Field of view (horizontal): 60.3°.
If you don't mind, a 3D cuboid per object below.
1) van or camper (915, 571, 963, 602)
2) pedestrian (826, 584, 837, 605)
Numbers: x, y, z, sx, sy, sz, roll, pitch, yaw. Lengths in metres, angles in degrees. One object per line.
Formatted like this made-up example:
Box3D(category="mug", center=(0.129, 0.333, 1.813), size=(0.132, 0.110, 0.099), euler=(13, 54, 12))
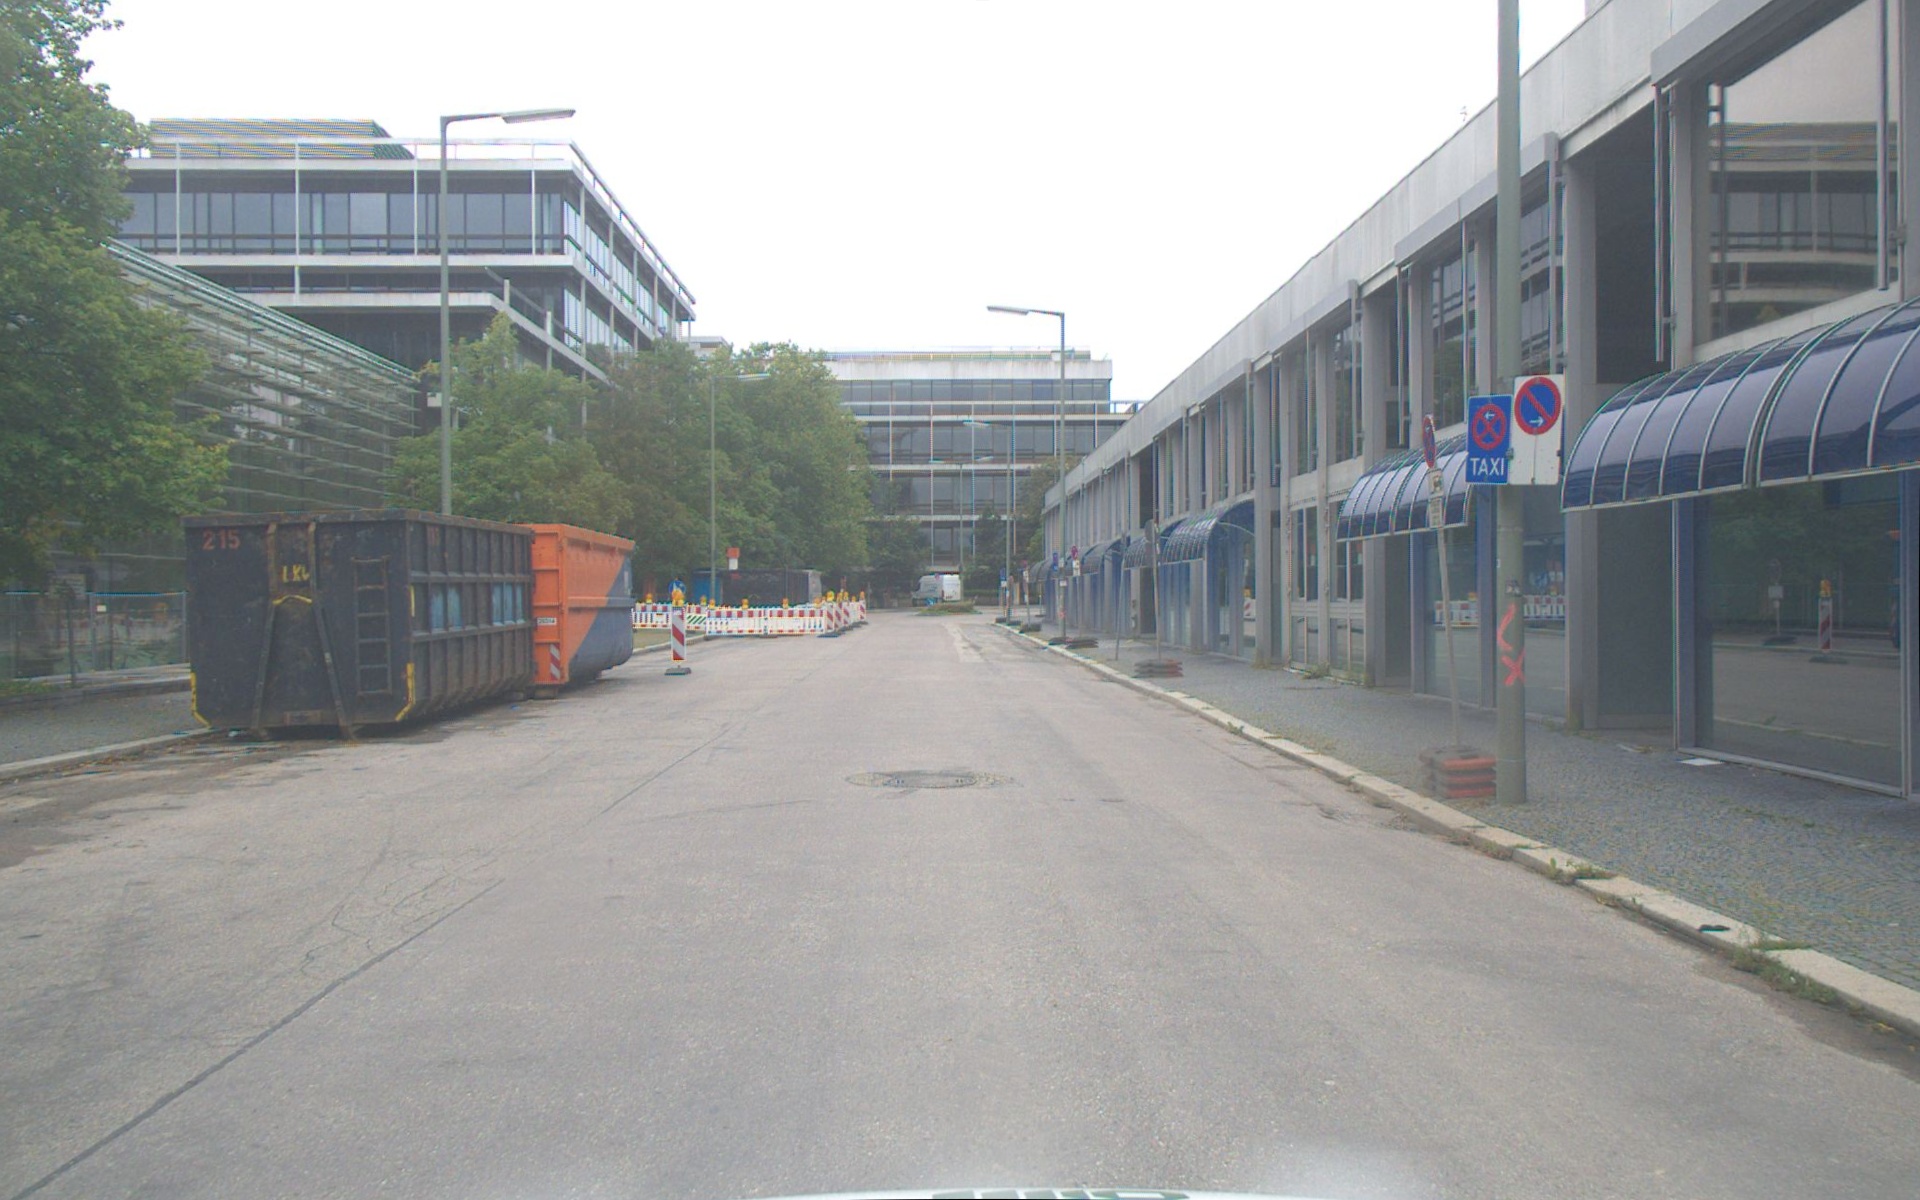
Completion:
Box3D(category="van or camper", center=(-1.814, -1.154, 138.835), size=(2.060, 2.535, 5.024), euler=(-1, 1, -26))
Box3D(category="pedestrian", center=(-10.682, -0.474, 137.671), size=(0.730, 1.706, 0.678), euler=(-1, 0, -21))
